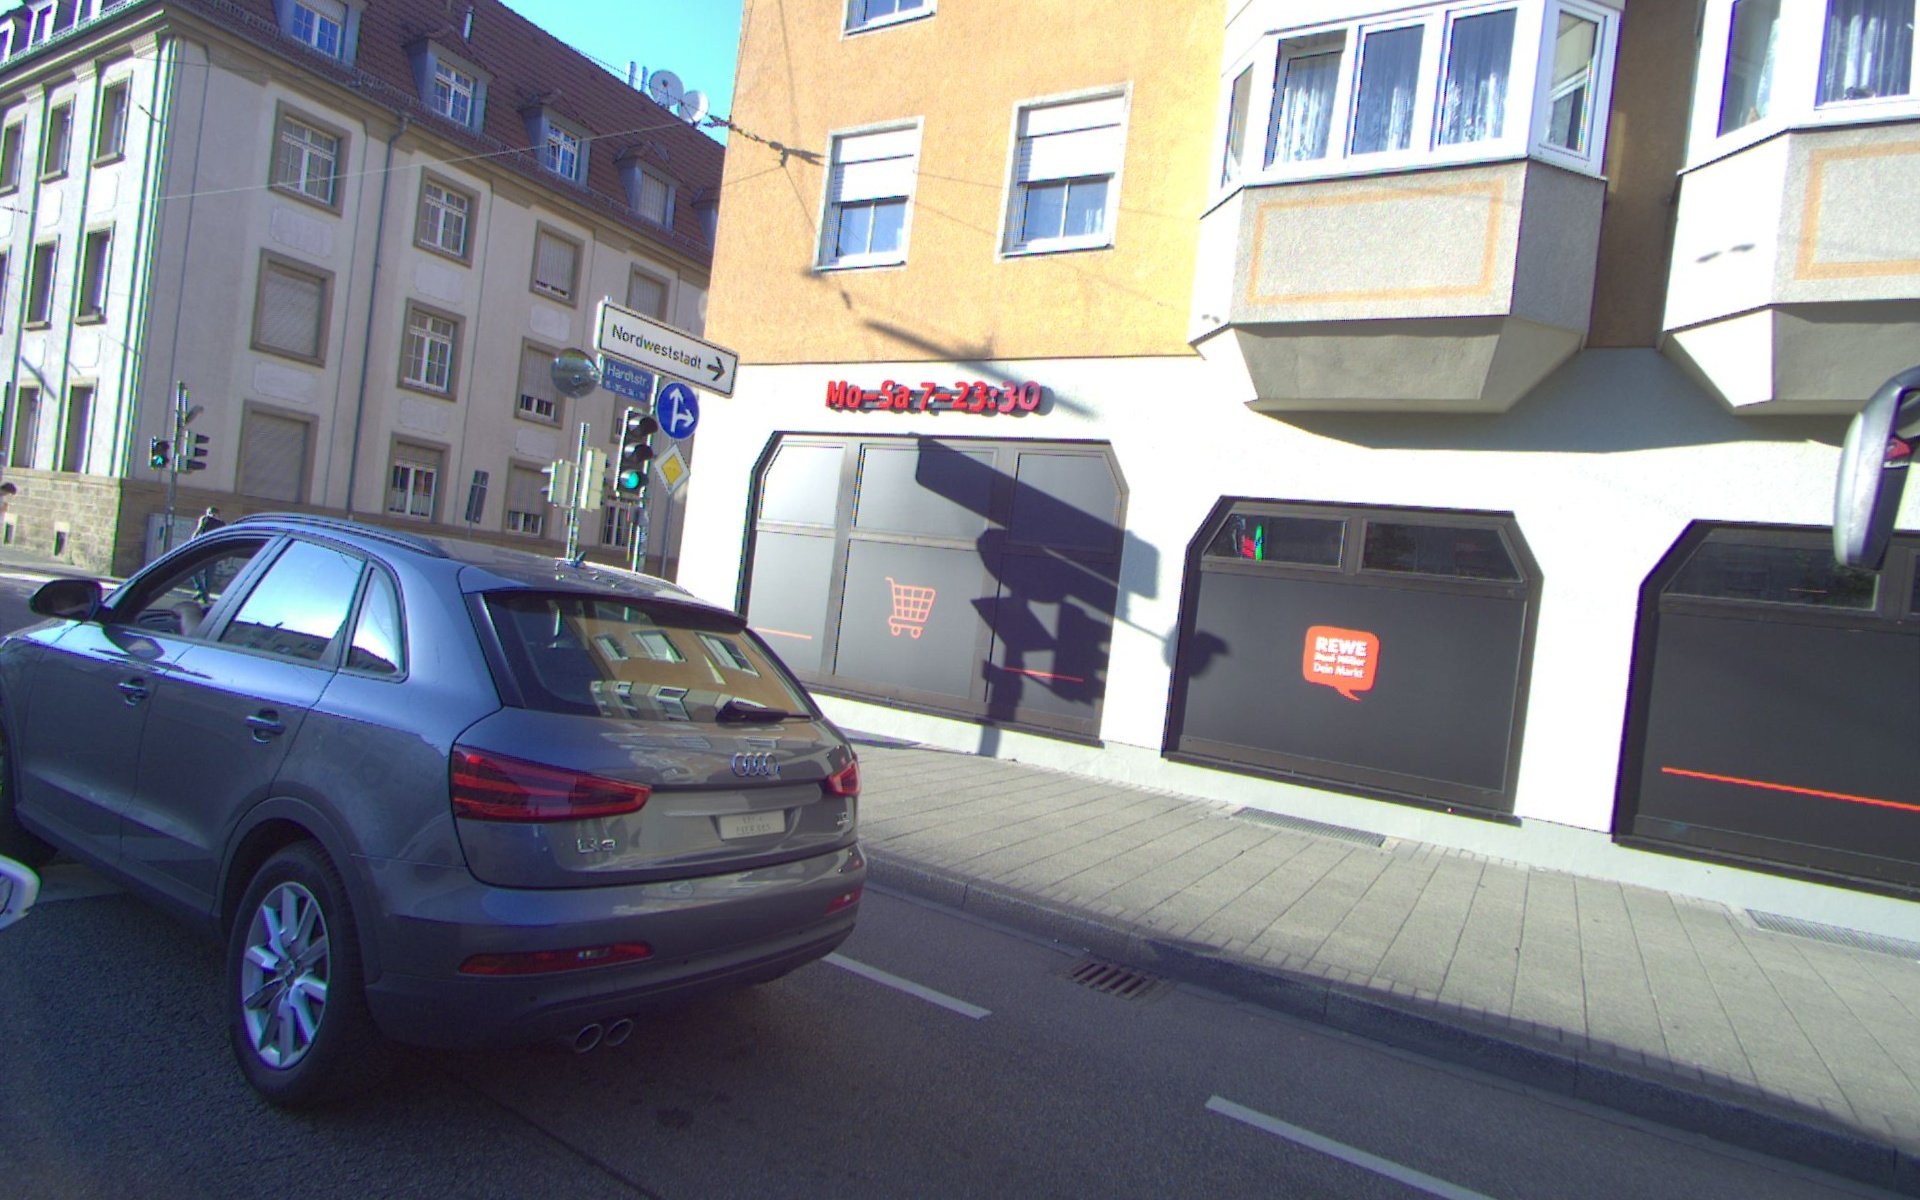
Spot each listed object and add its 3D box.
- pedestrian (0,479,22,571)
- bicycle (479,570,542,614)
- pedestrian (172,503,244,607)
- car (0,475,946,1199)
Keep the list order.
[{"bbox_3d":[-19.498,-1.549,20.048,0.810,1.783,0.837,6,-1,31],"label":"pedestrian"},{"bbox_3d":[-12.425,-0.222,27.863,1.499,1.029,0.247,9,-2,-43],"label":"bicycle"},{"bbox_3d":[-13.792,-0.817,18.458,0.812,1.778,0.630,6,-1,32],"label":"pedestrian"},{"bbox_3d":[-2.329,0.504,3.971,4.156,1.570,1.700,7,-2,33],"label":"car"}]
